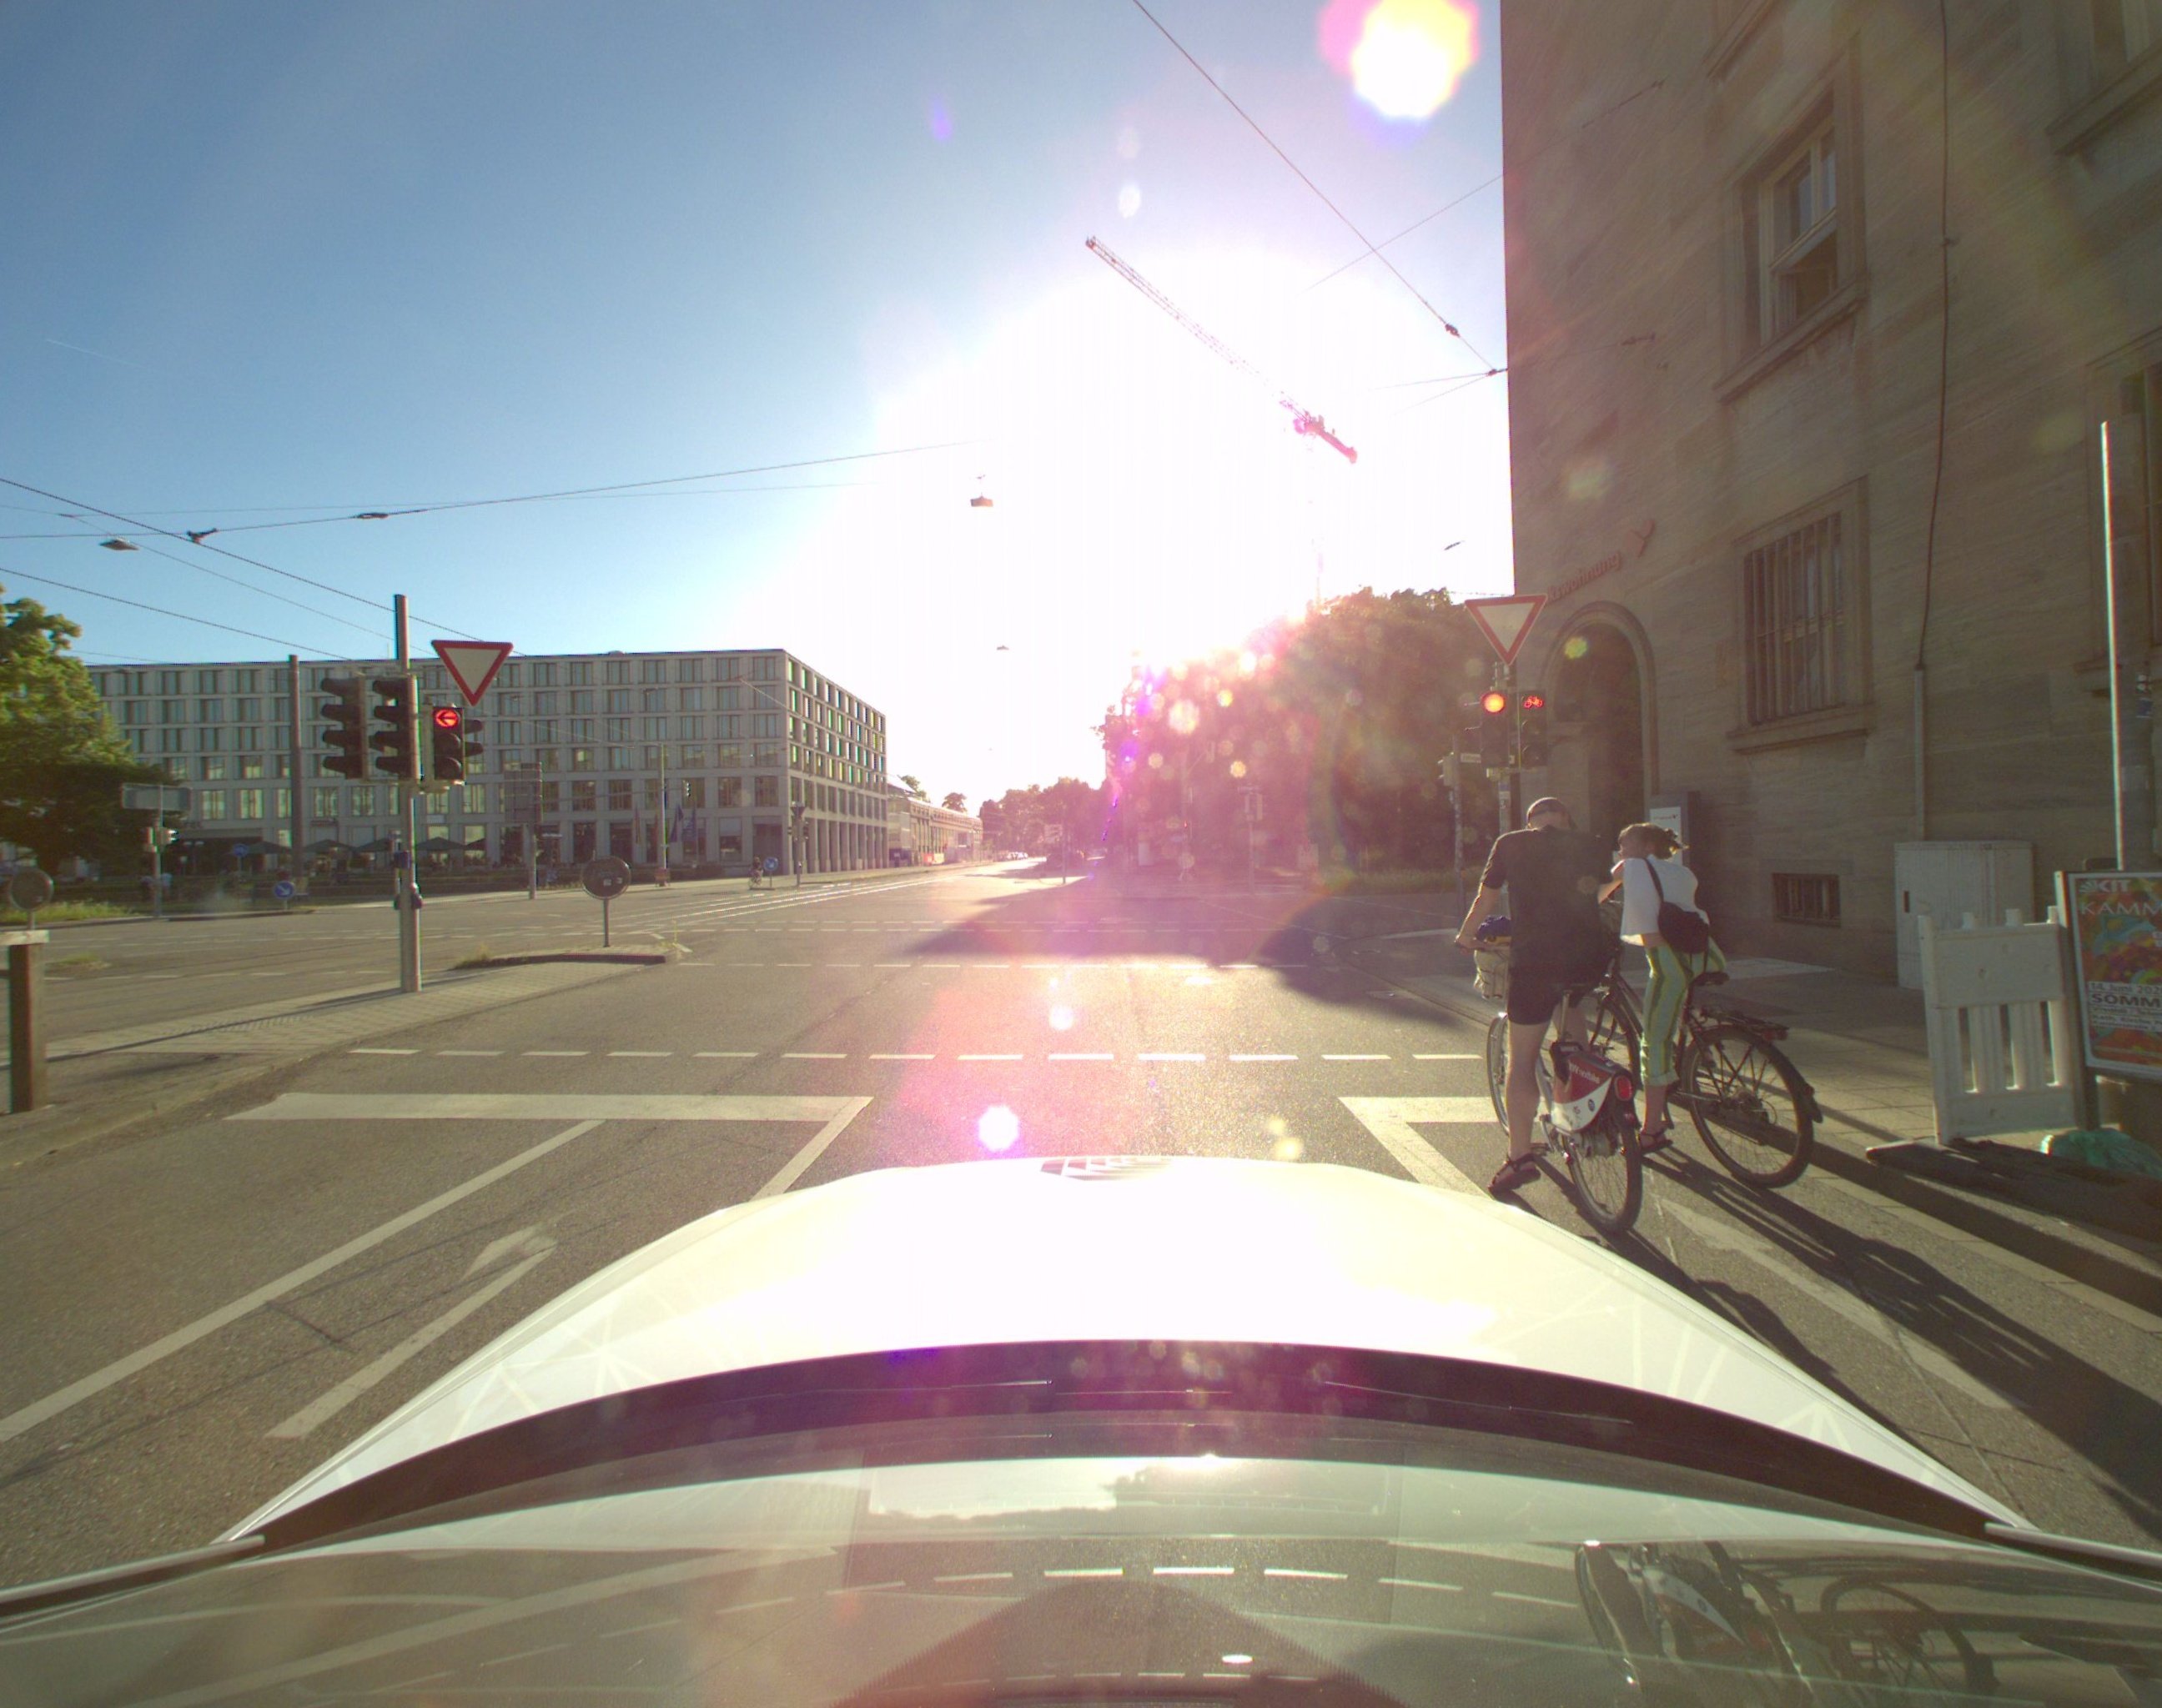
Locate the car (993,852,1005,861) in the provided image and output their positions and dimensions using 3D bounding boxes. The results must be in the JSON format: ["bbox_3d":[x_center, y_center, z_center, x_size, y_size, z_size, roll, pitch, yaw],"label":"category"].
[{"bbox_3d":[-15.671,0.498,156.338,1.724,1.653,4.002,-2,0,2],"label":"car"}]

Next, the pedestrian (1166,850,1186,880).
[{"bbox_3d":[5.050,0.598,43.473,0.980,1.587,0.661,-2,-1,3],"label":"pedestrian"}]

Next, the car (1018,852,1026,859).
[{"bbox_3d":[-14.053,0.335,194.752,1.478,1.750,4.002,-2,0,2],"label":"car"}]

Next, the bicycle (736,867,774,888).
[{"bbox_3d":[-19.291,1.361,48.336,0.872,1.121,3.015,-2,0,3],"label":"bicycle"}]

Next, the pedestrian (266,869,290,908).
[{"bbox_3d":[-44.080,1.883,44.714,0.648,2.068,0.649,-2,-1,-5],"label":"pedestrian"}]

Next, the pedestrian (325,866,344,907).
[{"bbox_3d":[-42.378,1.851,46.228,0.568,2.280,0.533,-2,0,-5],"label":"pedestrian"}]

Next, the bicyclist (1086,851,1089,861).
[{"bbox_3d":[0.781,0.220,98.524,0.316,1.127,0.292,-2,0,8],"label":"bicyclist"}]

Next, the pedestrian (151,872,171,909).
[{"bbox_3d":[-50.414,1.994,44.626,0.490,2.013,0.493,-2,0,14],"label":"pedestrian"}]

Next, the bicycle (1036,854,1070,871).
[{"bbox_3d":[-2.328,0.730,67.358,2.728,1.367,0.633,-1,-1,12],"label":"bicycle"}]

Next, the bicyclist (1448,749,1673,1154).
[{"bbox_3d":[2.158,0.411,3.755,0.666,1.678,0.658,-2,0,10],"label":"bicyclist"}]

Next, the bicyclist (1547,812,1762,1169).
[{"bbox_3d":[2.956,0.649,4.282,0.519,1.679,0.860,-2,0,5],"label":"bicyclist"}]

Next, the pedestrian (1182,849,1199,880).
[{"bbox_3d":[5.918,0.559,44.061,0.792,1.639,0.534,-2,0,4],"label":"pedestrian"}]

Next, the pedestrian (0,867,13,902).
[{"bbox_3d":[-58.817,1.659,44.283,0.557,1.903,0.684,-2,0,10],"label":"pedestrian"}]

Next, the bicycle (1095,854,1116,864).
[{"bbox_3d":[3.078,0.647,102.762,2.559,1.288,0.728,0,-1,1],"label":"bicycle"}]

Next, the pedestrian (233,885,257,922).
[{"bbox_3d":[-47.632,2.817,46.397,0.528,2.013,0.800,-2,0,-5],"label":"pedestrian"}]

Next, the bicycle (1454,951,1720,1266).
[{"bbox_3d":[2.294,1.045,3.955,0.387,0.905,1.956,-2,0,10],"label":"bicycle"}]

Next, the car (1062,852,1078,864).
[{"bbox_3d":[-1.231,0.437,92.738,1.814,1.279,3.999,-2,0,0],"label":"car"}]

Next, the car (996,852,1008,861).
[{"bbox_3d":[-15.516,0.415,160.497,1.724,1.653,4.002,-2,0,2],"label":"car"}]

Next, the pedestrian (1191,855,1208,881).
[{"bbox_3d":[6.295,0.740,43.367,0.750,1.332,0.742,-2,0,0],"label":"pedestrian"}]

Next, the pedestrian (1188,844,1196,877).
[{"bbox_3d":[6.063,0.358,44.481,0.358,1.804,0.508,-2,0,14],"label":"pedestrian"}]

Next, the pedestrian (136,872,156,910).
[{"bbox_3d":[-50.298,1.986,43.808,0.490,2.013,0.493,-2,0,14],"label":"pedestrian"}]

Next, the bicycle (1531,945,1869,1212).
[{"bbox_3d":[3.085,1.036,4.328,0.424,0.876,1.953,-2,0,5],"label":"bicycle"}]

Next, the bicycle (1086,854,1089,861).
[{"bbox_3d":[0.802,0.448,98.693,0.323,0.868,1.484,-2,0,2],"label":"bicycle"}]

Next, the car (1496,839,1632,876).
[{"bbox_3d":[19.462,0.148,32.972,4.422,1.329,1.778,-2,0,4],"label":"car"}]

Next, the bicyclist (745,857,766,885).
[{"bbox_3d":[-19.290,1.008,48.277,0.872,1.641,0.822,-2,0,3],"label":"bicyclist"}]

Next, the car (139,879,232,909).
[{"bbox_3d":[-46.886,2.087,42.678,3.175,1.438,1.471,-2,0,-1],"label":"car"}]

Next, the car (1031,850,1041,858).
[{"bbox_3d":[-10.895,0.060,197.063,1.986,2.014,4.001,0,-1,2],"label":"car"}]

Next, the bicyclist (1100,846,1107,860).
[{"bbox_3d":[2.872,-0.129,102.794,0.802,1.844,0.731,-2,0,1],"label":"bicyclist"}]
